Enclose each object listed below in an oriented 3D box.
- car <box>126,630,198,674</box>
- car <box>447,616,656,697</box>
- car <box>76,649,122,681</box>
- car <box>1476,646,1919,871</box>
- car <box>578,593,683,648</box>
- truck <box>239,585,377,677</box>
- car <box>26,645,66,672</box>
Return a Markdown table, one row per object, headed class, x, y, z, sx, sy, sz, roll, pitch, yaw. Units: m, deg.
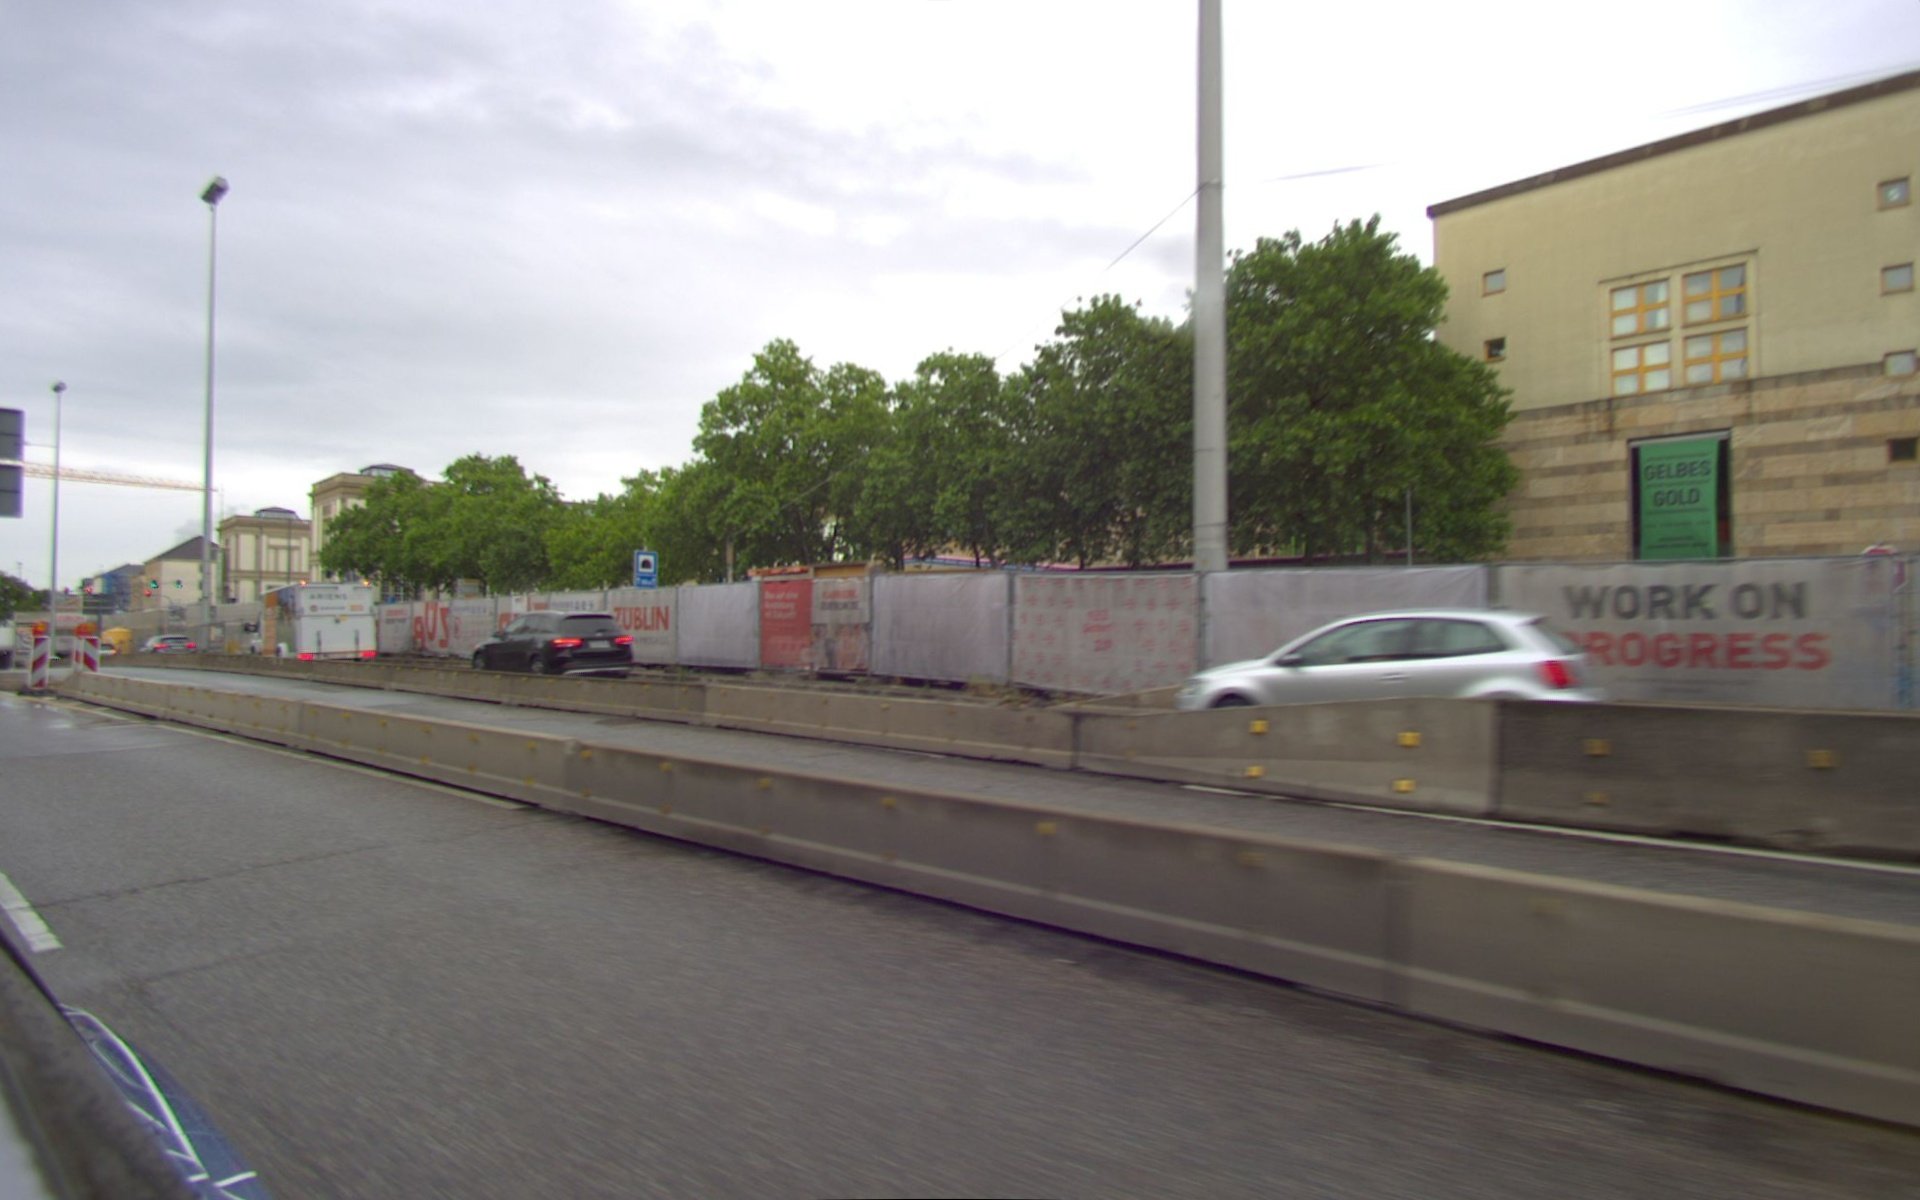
| class | x | y | z | sx | sy | sz | roll | pitch | yaw |
| --- | --- | --- | --- | --- | --- | --- | --- | --- | --- |
| car | -39.657 | 2.526 | 50.267 | 4.756 | 2.029 | 1.888 | -1 | -3 | 41 |
| car | -8.716 | 1.152 | 21.441 | 4.751 | 1.542 | 1.903 | -2 | -2 | 36 |
| car | -54.606 | 4.111 | 64.143 | 3.356 | 1.882 | 1.682 | -1 | -3 | 41 |
| car | 6.695 | 1.177 | 8.433 | 3.992 | 1.542 | 1.976 | -2 | -2 | 36 |
| car | -13.068 | 0.842 | 39.990 | 4.719 | 2.029 | 1.971 | -2 | -3 | 45 |
| truck | -21.876 | 1.045 | 33.775 | 7.358 | 2.740 | 2.370 | -2 | -2 | 45 |
| car | -71.895 | 4.570 | 79.587 | 3.999 | 2.029 | 1.877 | -1 | -3 | 42 |
